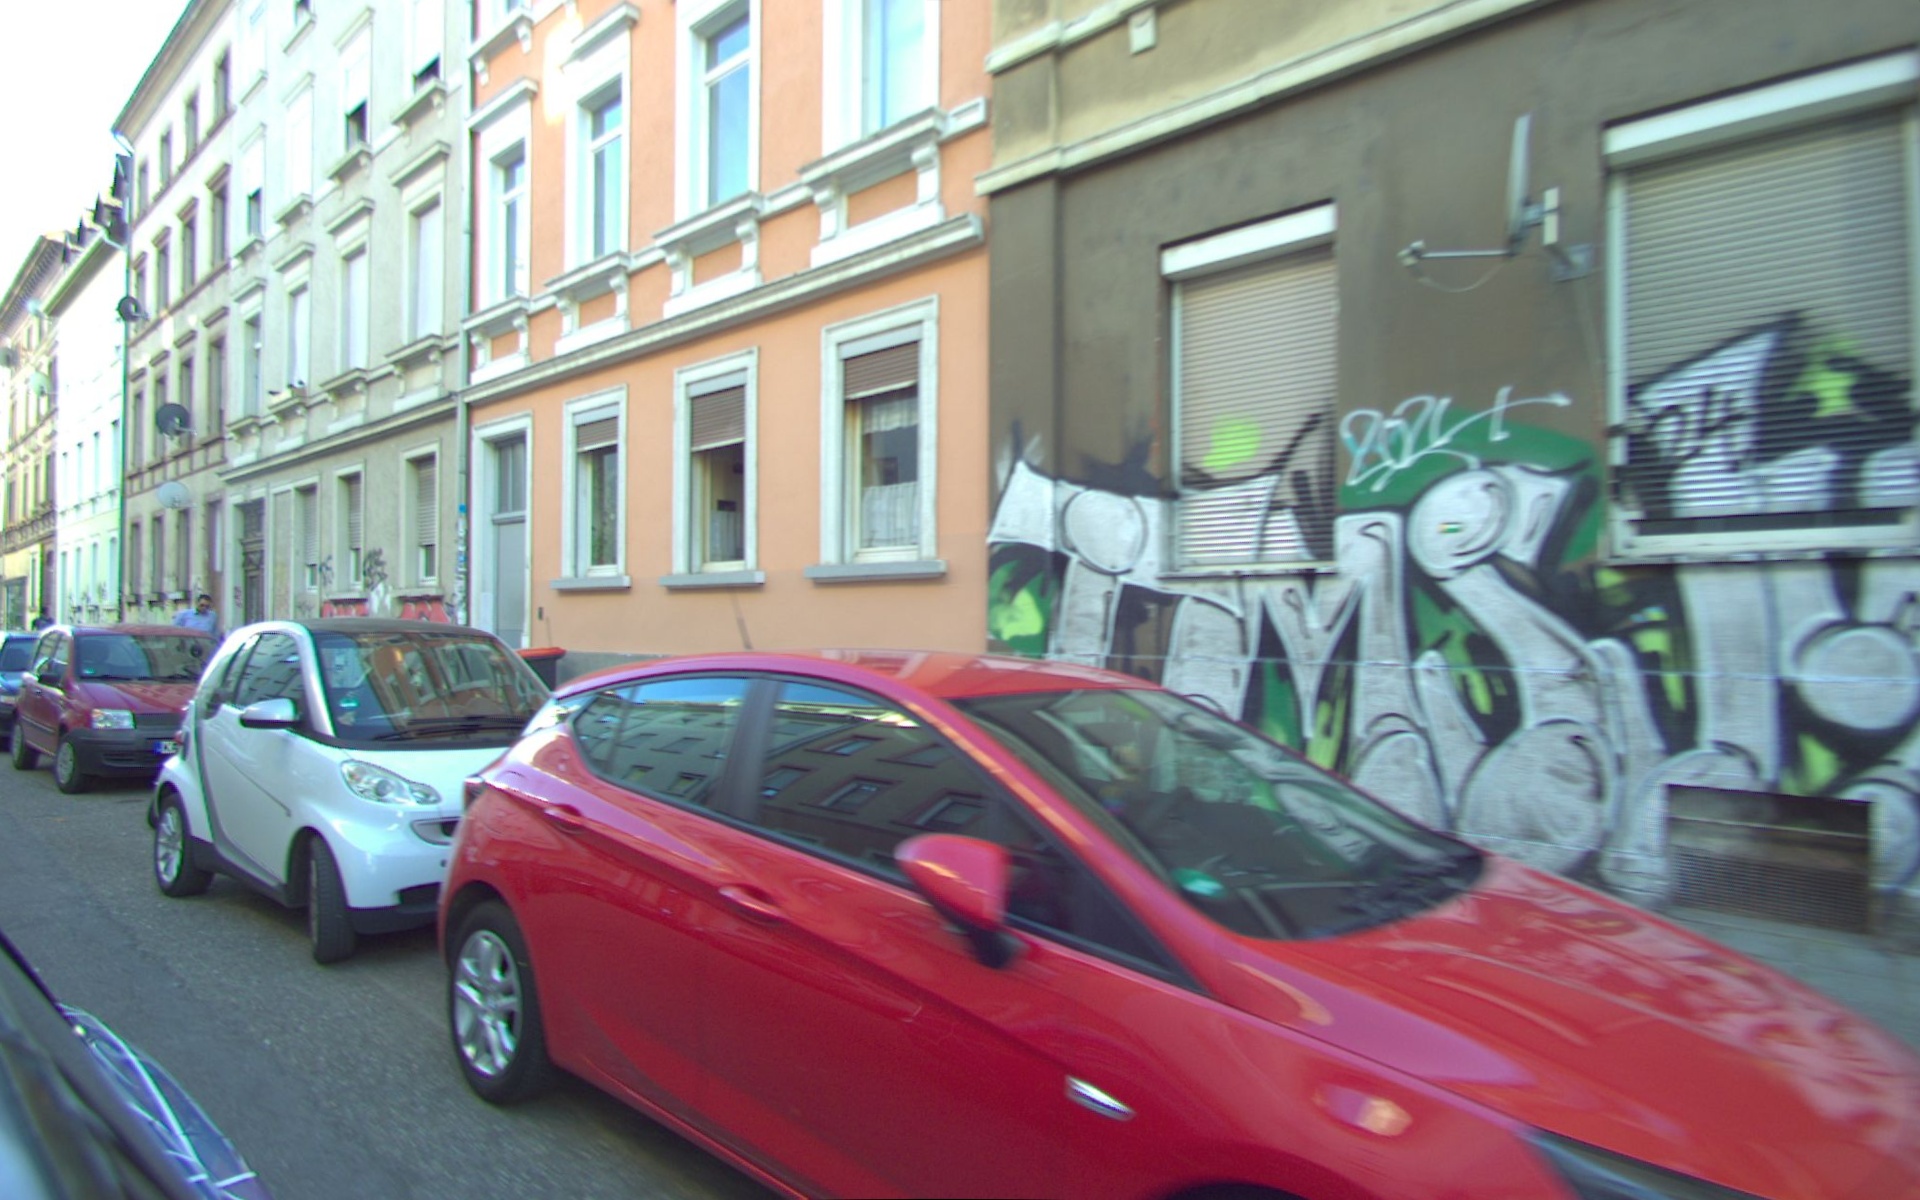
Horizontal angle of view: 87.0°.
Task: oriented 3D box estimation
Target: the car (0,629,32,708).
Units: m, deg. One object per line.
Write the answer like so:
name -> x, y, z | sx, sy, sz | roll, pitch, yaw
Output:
car -> -19.740, 1.322, 19.987 | 3.858, 1.474, 1.661 | -1, -2, 41

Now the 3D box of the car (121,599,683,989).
car -> -3.166, 0.837, 5.645 | 2.955, 1.561, 1.663 | -1, -3, 37

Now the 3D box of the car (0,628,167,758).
car -> -12.026, 1.104, 13.356 | 4.311, 1.474, 1.661 | -1, -2, 41

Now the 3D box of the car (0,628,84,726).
car -> -15.728, 1.197, 16.698 | 1.660, 1.474, 3.862 | 2, -2, -45

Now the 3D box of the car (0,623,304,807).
car -> -8.176, 0.993, 10.111 | 3.607, 1.504, 1.663 | -1, -2, 39

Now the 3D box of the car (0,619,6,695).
car -> -23.529, 1.299, 23.475 | 3.858, 1.696, 1.661 | -1, -2, 41

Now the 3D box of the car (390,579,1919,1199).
car -> 0.284, 0.794, 2.657 | 4.199, 1.485, 1.662 | -1, -4, 40

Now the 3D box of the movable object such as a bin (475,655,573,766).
movable object such as a bin -> -4.602, 1.137, 10.681 | 0.768, 1.057, 0.663 | -2, 0, -41

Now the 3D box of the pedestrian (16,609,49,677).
pedestrian -> -25.781, 1.182, 28.125 | 0.594, 1.844, 0.618 | -2, -1, 42

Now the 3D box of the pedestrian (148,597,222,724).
pedestrian -> -11.733, 0.892, 15.326 | 0.594, 1.844, 0.780 | -2, -1, 41

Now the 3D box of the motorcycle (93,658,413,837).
motorcycle -> -5.604, 1.099, 8.209 | 0.784, 1.137, 2.068 | -1, 0, 19
